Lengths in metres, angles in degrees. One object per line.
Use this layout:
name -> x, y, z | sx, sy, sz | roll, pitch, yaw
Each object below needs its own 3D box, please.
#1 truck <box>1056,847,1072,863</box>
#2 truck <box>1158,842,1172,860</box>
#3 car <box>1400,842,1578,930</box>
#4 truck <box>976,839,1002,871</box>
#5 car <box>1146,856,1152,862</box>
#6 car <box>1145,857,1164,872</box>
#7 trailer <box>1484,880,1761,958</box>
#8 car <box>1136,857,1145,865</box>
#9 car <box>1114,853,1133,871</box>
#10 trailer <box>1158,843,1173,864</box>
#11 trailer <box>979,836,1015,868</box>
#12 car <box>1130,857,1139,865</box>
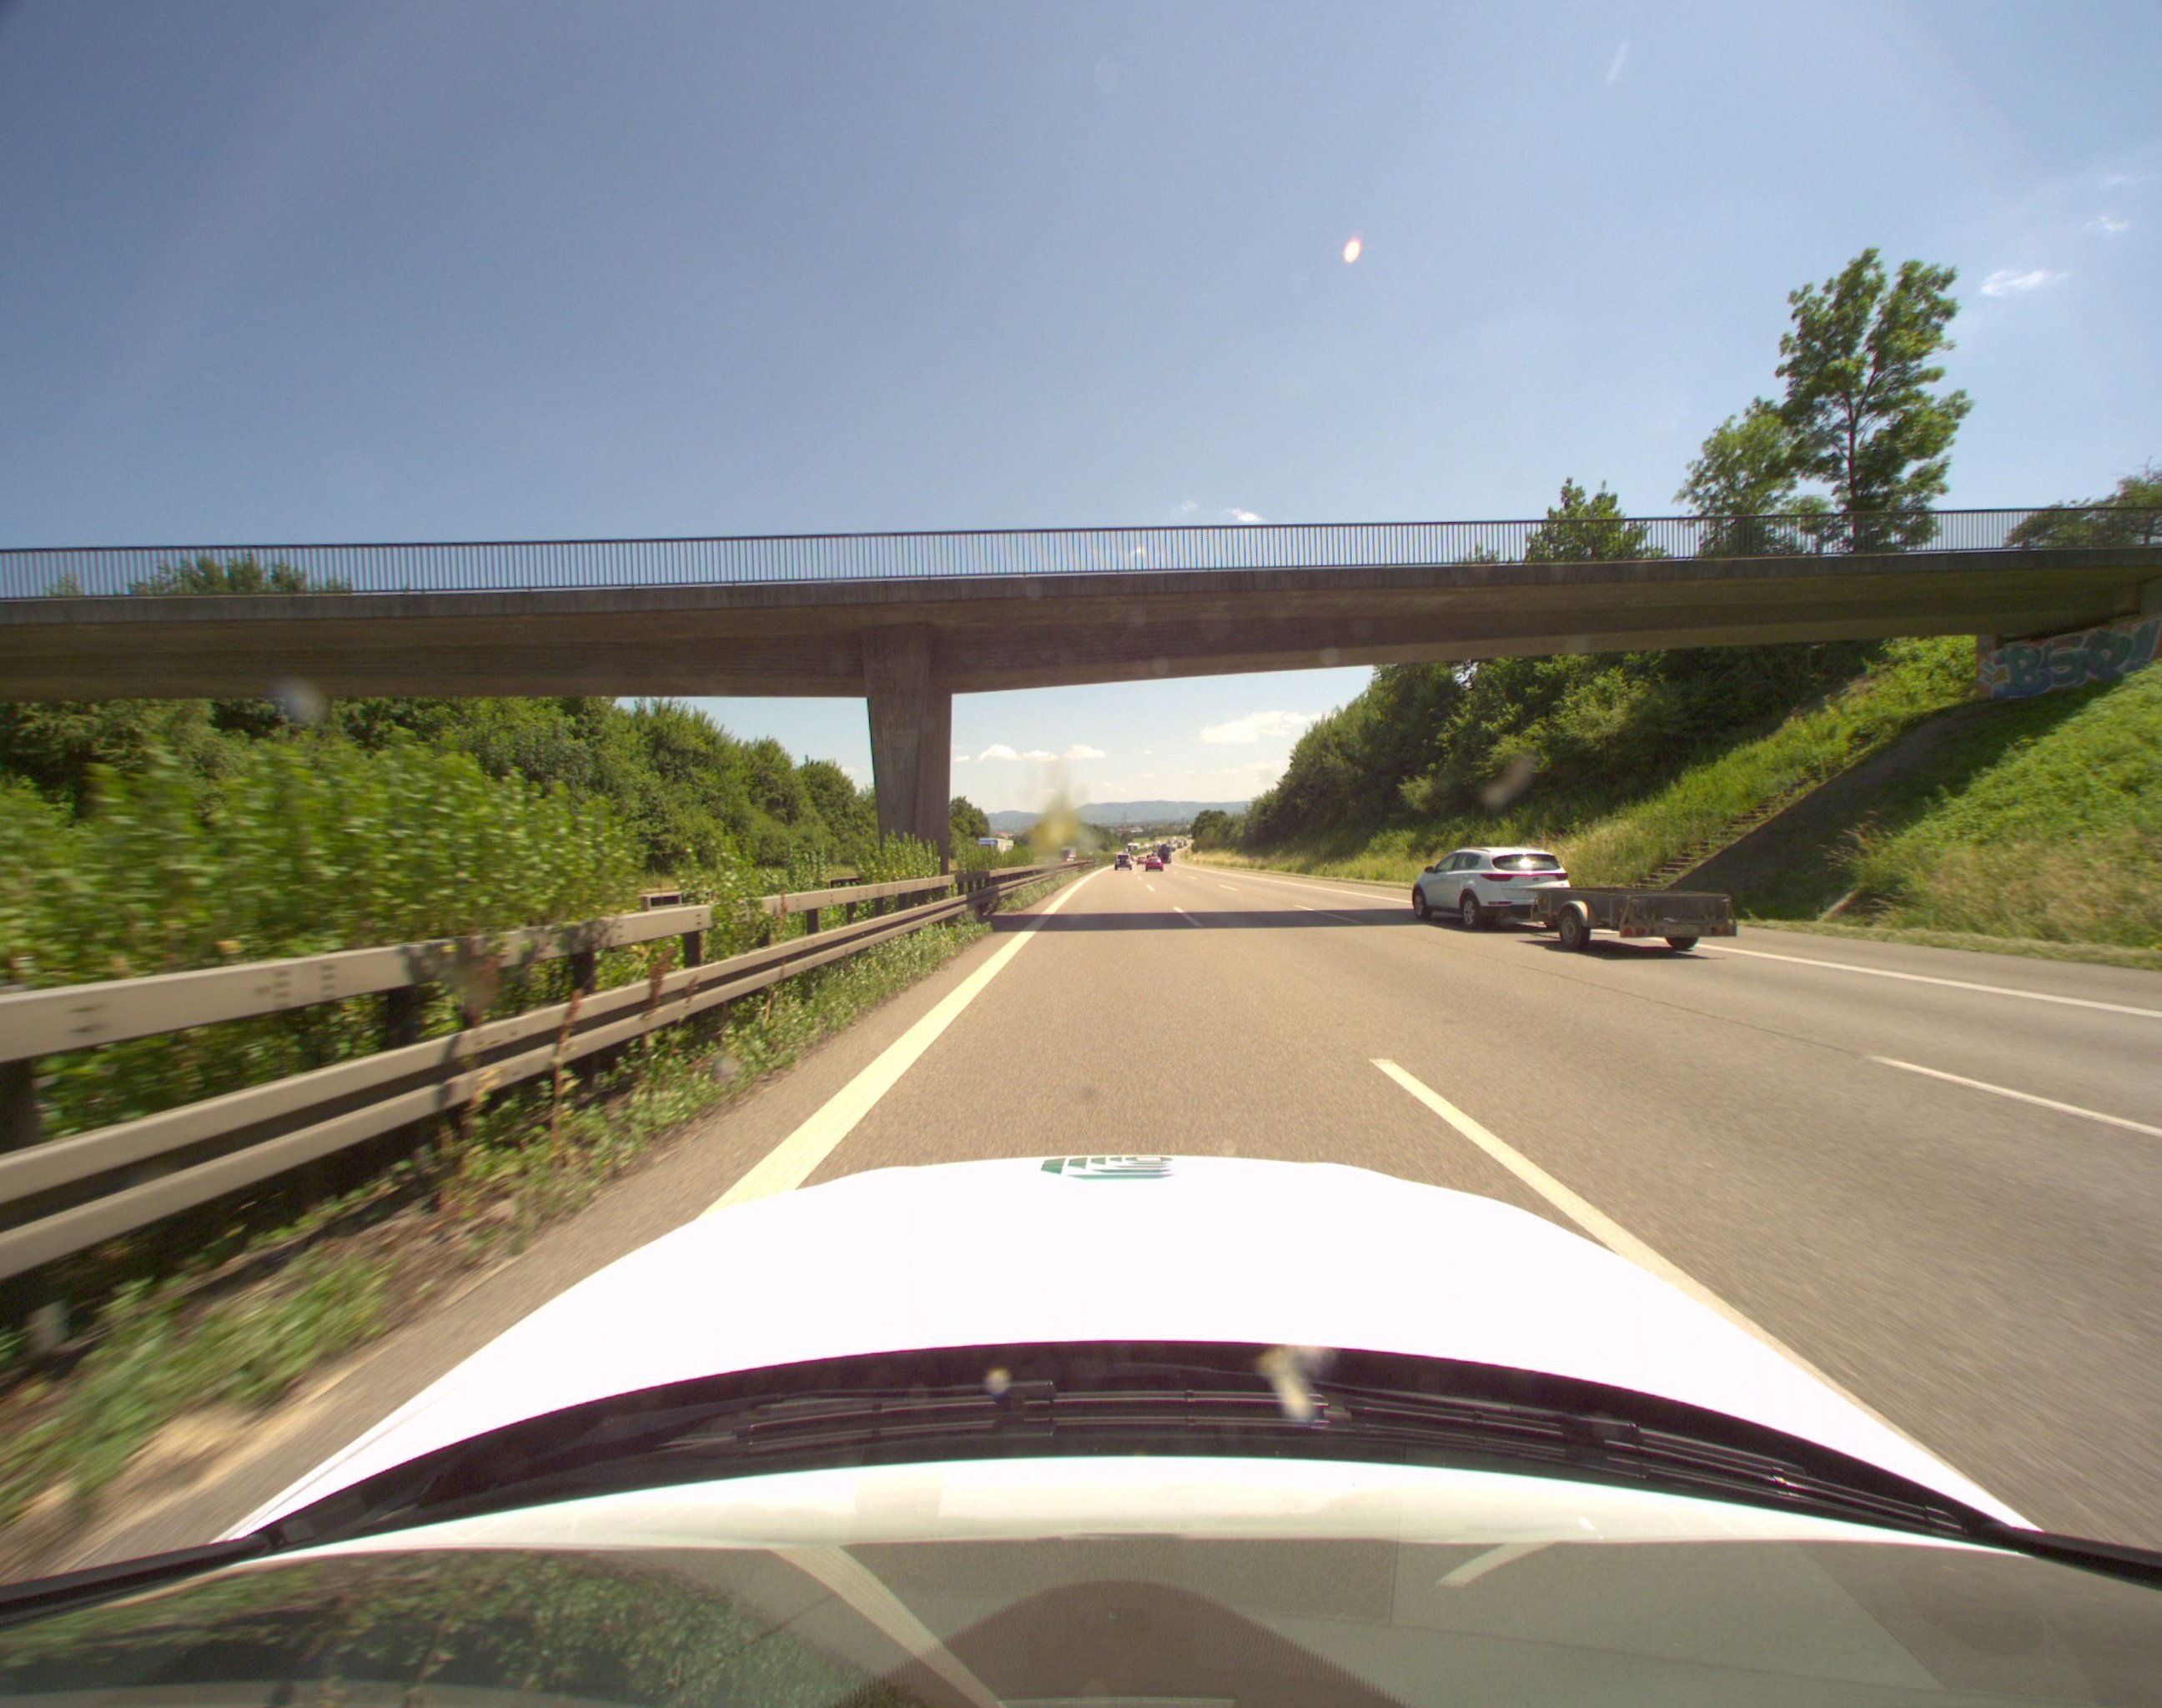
truck -> -4.433, 0.298, 217.570 | 2.962, 4.013, 16.842 | -1, 0, 3
truck -> 18.399, -0.787, 178.472 | 2.741, 3.852, 6.653 | 0, 1, 4
car -> 8.667, 0.578, 17.776 | 1.774, 1.650, 4.405 | -1, 1, 1
truck -> -12.046, 0.101, 106.938 | 2.482, 4.118, 5.088 | -1, 1, 3
car -> 20.312, 1.481, 243.120 | 1.625, 1.704, 3.412 | 0, 1, 12
car -> 7.618, 1.092, 84.577 | 1.680, 1.378, 3.948 | -1, 1, 0
trailer -> 8.512, 0.966, 13.362 | 1.748, 0.908, 4.320 | -1, 0, 1
car -> 10.914, 1.290, 149.551 | 1.446, 1.267, 3.542 | -1, 1, 3
car -> 4.821, 0.879, 93.243 | 2.076, 1.829, 4.755 | -1, 1, 1
trailer -> 17.709, -0.229, 170.498 | 2.841, 3.993, 15.419 | 0, 1, 5
trailer -> -11.637, -0.342, 114.521 | 2.623, 4.253, 14.689 | -1, 1, 3
car -> 13.850, 1.767, 210.777 | 1.687, 2.013, 3.835 | 0, 1, 12
